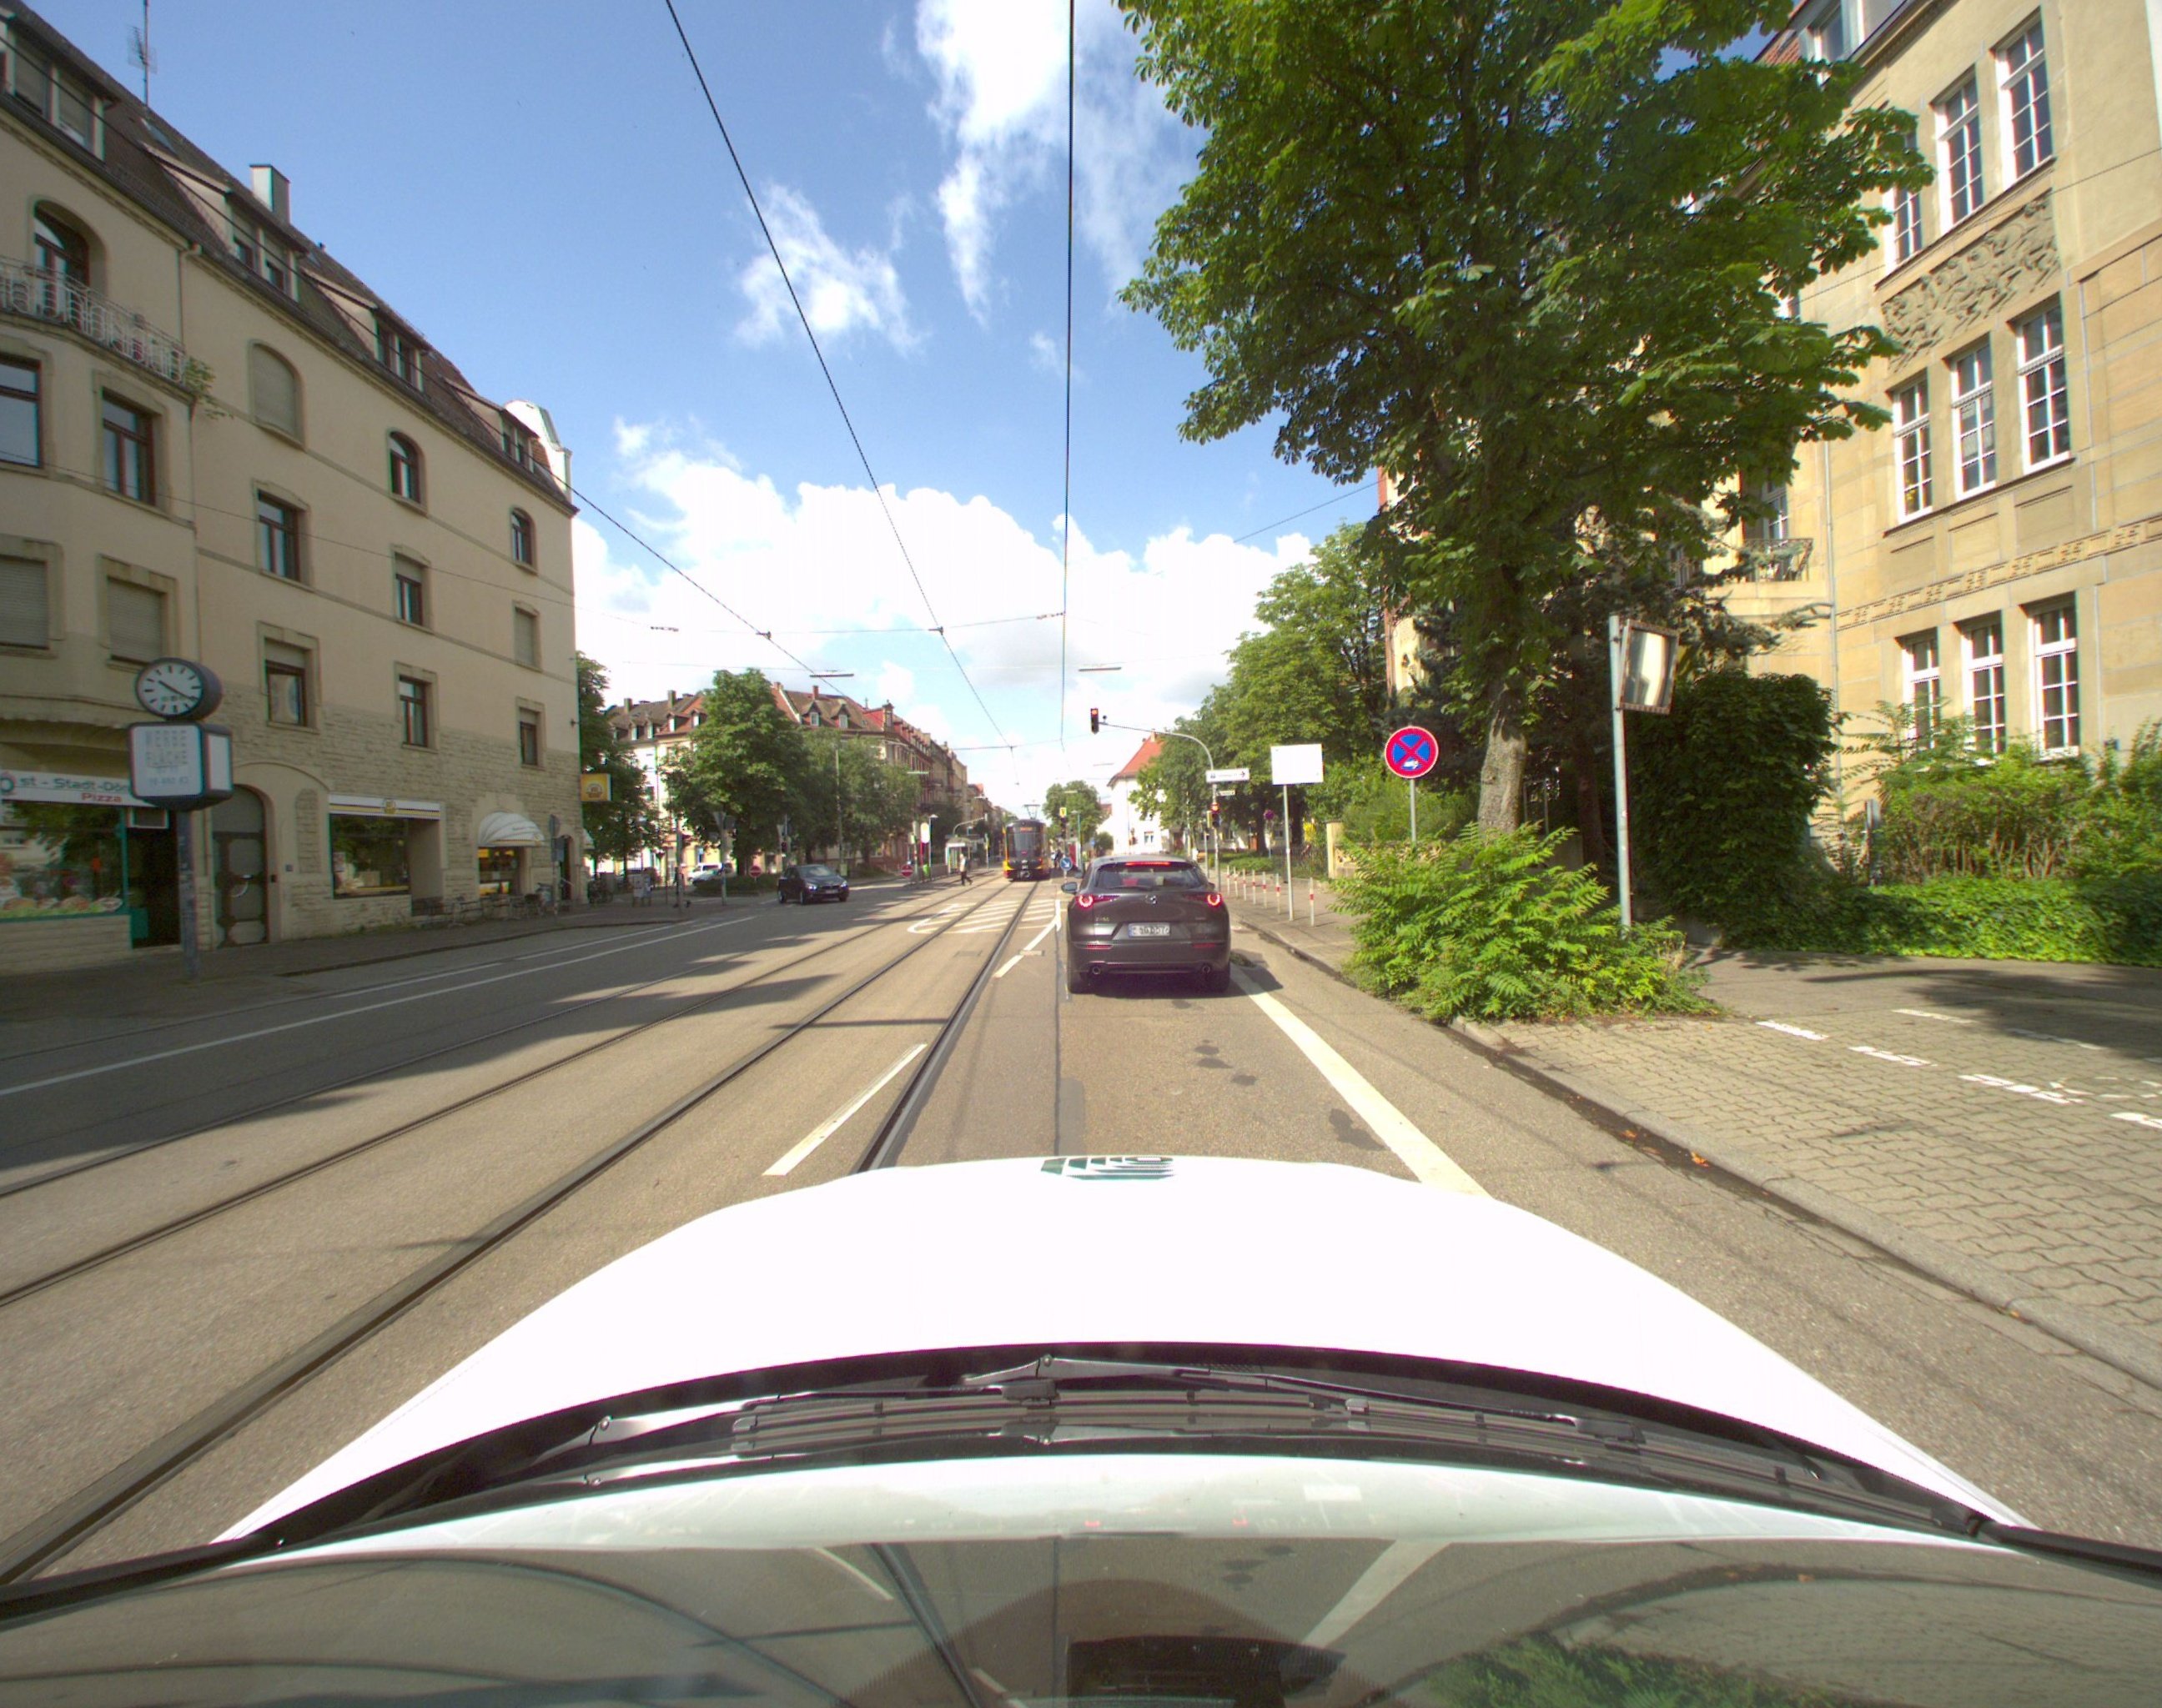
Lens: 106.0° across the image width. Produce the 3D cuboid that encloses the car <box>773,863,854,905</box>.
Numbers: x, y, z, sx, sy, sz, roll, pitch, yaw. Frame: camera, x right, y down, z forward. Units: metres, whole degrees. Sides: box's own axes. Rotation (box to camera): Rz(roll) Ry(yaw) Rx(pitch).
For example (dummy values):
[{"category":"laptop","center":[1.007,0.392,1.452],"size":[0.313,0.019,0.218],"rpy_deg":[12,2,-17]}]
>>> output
[{"category":"car","center":[-10.779,1.188,32.667],"size":[1.770,1.518,4.021],"rpy_deg":[-3,0,-39]}]

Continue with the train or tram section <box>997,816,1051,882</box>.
[{"category":"train or tram section","center":[-3.358,-0.385,51.383],"size":[2.746,3.490,14.397],"rpy_deg":[-3,1,-2]}]

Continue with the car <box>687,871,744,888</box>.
[{"category":"car","center":[-30.110,2.057,67.194],"size":[1.657,1.182,4.026],"rpy_deg":[-2,0,35]}]

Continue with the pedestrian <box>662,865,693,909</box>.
[{"category":"pedestrian","center":[-15.951,1.299,32.214],"size":[0.746,1.684,0.702],"rpy_deg":[-3,0,11]}]

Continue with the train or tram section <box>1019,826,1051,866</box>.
[{"category":"train or tram section","center":[-4.408,-0.823,80.123],"size":[2.746,3.490,14.397],"rpy_deg":[-3,1,-2]}]

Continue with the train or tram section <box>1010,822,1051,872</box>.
[{"category":"train or tram section","center":[-3.887,-0.640,65.752],"size":[2.746,3.490,14.397],"rpy_deg":[-3,1,-2]}]

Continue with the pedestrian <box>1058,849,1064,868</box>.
[{"category":"pedestrian","center":[-1.619,0.366,65.131],"size":[0.449,1.434,0.474],"rpy_deg":[-2,0,-3]}]

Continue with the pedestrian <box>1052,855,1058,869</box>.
[{"category":"pedestrian","center":[-2.084,0.613,65.057],"size":[0.379,1.071,0.474],"rpy_deg":[-2,0,-2]}]

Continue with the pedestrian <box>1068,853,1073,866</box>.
[{"category":"pedestrian","center":[-0.837,0.433,65.326],"size":[0.379,0.984,0.474],"rpy_deg":[-2,0,-3]}]

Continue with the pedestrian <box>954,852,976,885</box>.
[{"category":"pedestrian","center":[-6.112,0.758,42.817],"size":[0.710,1.705,0.829],"rpy_deg":[-2,0,32]}]

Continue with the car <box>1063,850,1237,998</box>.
[{"category":"car","center":[0.757,0.705,10.326],"size":[1.772,1.499,4.001],"rpy_deg":[0,0,1]}]

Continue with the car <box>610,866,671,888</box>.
[{"category":"car","center":[-37.117,1.933,68.700],"size":[3.972,1.596,2.001],"rpy_deg":[-3,0,2]}]

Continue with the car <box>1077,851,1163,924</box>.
[{"category":"car","center":[0.864,0.697,18.936],"size":[1.772,1.499,4.001],"rpy_deg":[0,0,1]}]
